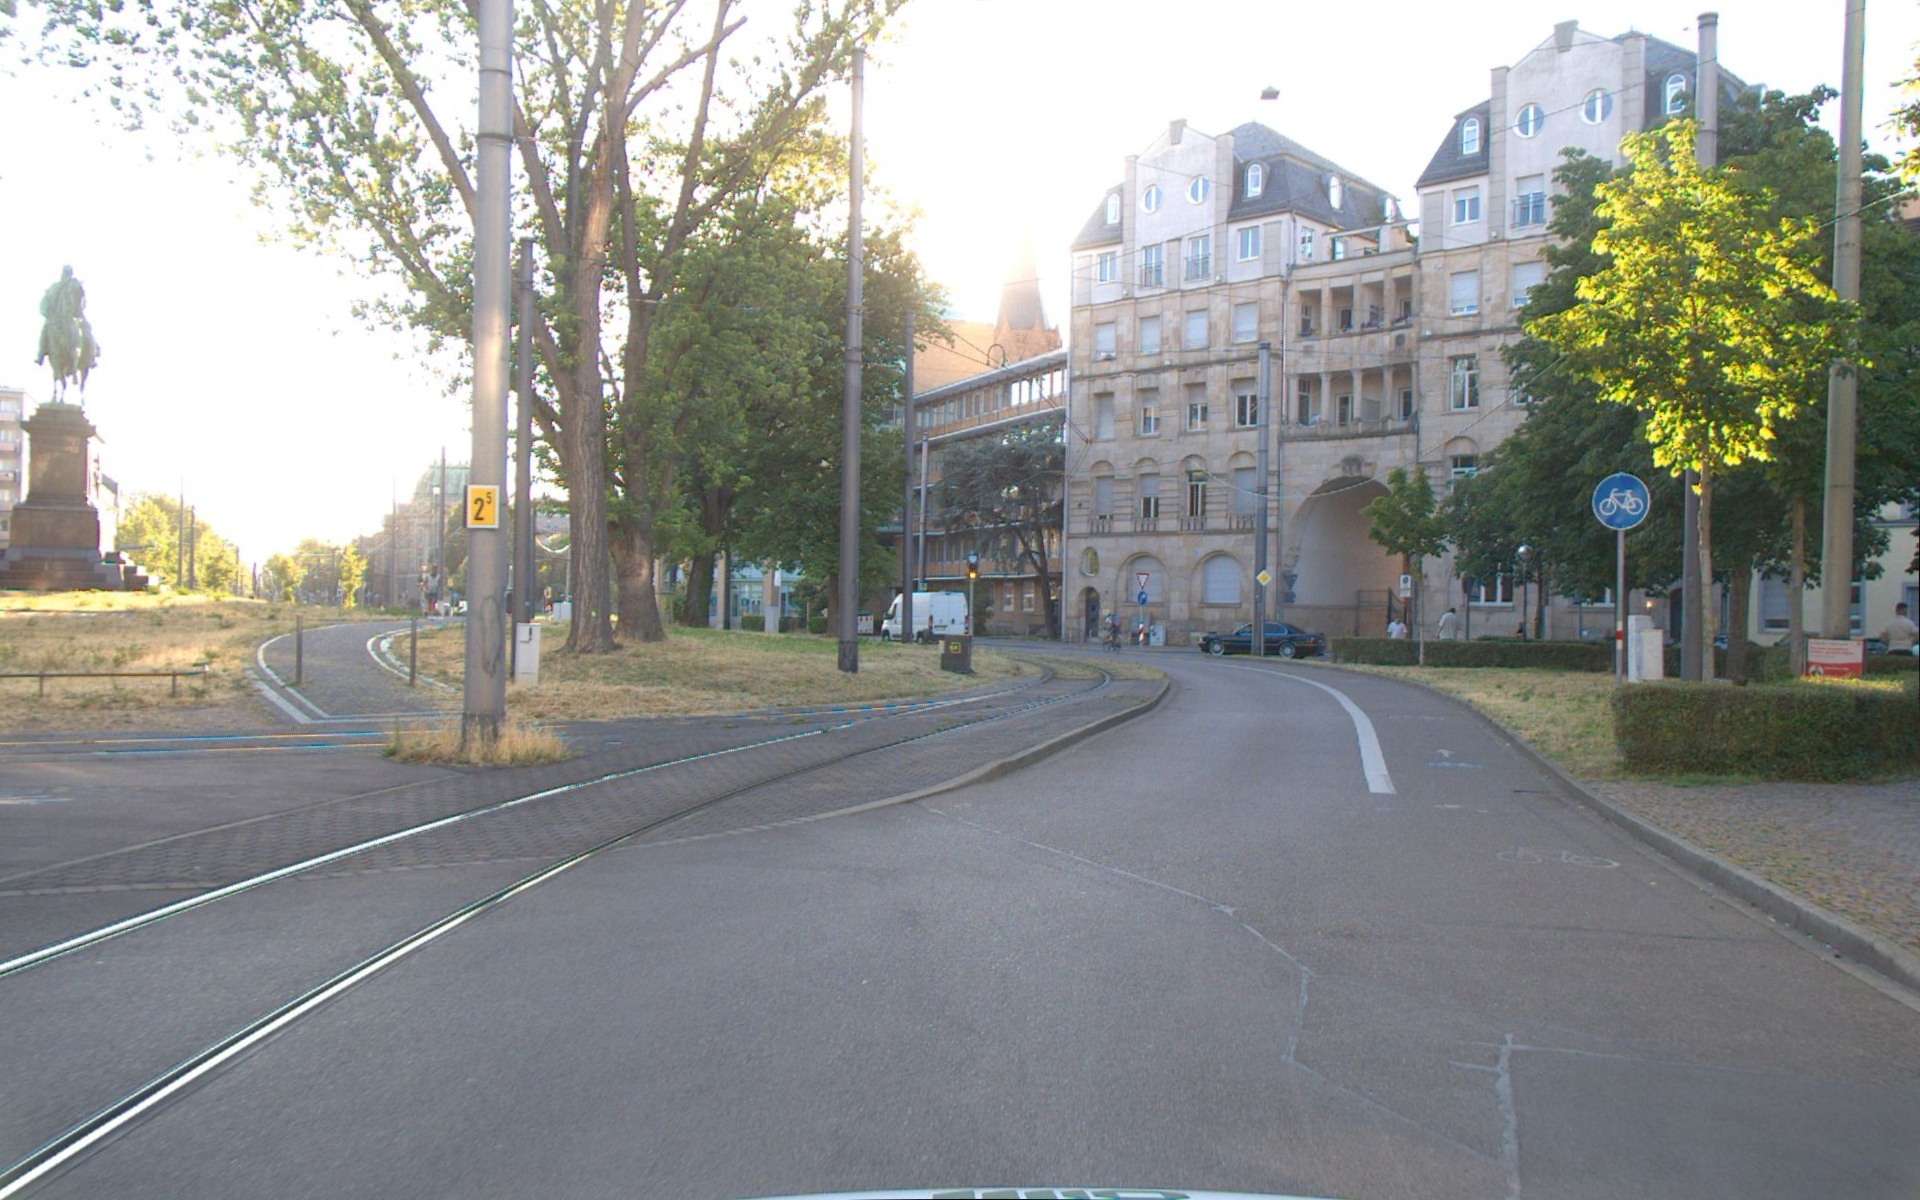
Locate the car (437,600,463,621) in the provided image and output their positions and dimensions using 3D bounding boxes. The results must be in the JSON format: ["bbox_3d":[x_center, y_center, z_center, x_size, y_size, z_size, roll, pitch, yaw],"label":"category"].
[{"bbox_3d":[-52.018,1.073,168.608,2.109,2.049,3.972,1,0,-23],"label":"car"}]

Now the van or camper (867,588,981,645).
[{"bbox_3d":[-1.736,0.711,76.803,2.580,2.516,6.255,1,0,-30],"label":"van or camper"}]

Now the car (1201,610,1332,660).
[{"bbox_3d":[11.799,1.323,63.703,4.658,1.792,1.819,1,0,24],"label":"car"}]

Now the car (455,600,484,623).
[{"bbox_3d":[-45.145,1.025,152.210,2.109,2.049,3.972,1,0,-23],"label":"car"}]

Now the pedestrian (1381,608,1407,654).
[{"bbox_3d":[14.745,1.060,56.217,0.583,1.537,0.683,1,-1,43],"label":"pedestrian"}]

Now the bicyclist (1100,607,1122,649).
[{"bbox_3d":[6.091,1.125,66.719,0.505,1.671,0.765,1,0,-36],"label":"bicyclist"}]

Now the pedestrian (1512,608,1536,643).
[{"bbox_3d":[22.851,1.040,67.031,0.676,1.392,0.630,1,-1,45],"label":"pedestrian"}]

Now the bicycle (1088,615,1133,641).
[{"bbox_3d":[6.065,1.124,66.759,0.505,0.995,2.214,1,0,-35],"label":"bicycle"}]

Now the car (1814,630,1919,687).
[{"bbox_3d":[25.053,1.559,44.131,4.260,1.451,1.847,1,-1,-25],"label":"car"}]

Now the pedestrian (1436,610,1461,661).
[{"bbox_3d":[14.993,1.085,50.738,0.620,1.537,0.687,1,0,25],"label":"pedestrian"}]

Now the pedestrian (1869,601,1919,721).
[{"bbox_3d":[16.387,1.057,28.884,0.810,2.049,0.641,2,0,-41],"label":"pedestrian"}]

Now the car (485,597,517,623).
[{"bbox_3d":[-38.781,0.821,139.767,2.109,2.049,3.972,1,0,-23],"label":"car"}]

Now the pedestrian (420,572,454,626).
[{"bbox_3d":[-15.999,-0.021,50.563,0.623,1.634,0.771,1,0,24],"label":"pedestrian"}]

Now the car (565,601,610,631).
[{"bbox_3d":[-25.576,1.081,113.519,1.973,2.004,3.960,1,0,-30],"label":"car"}]
